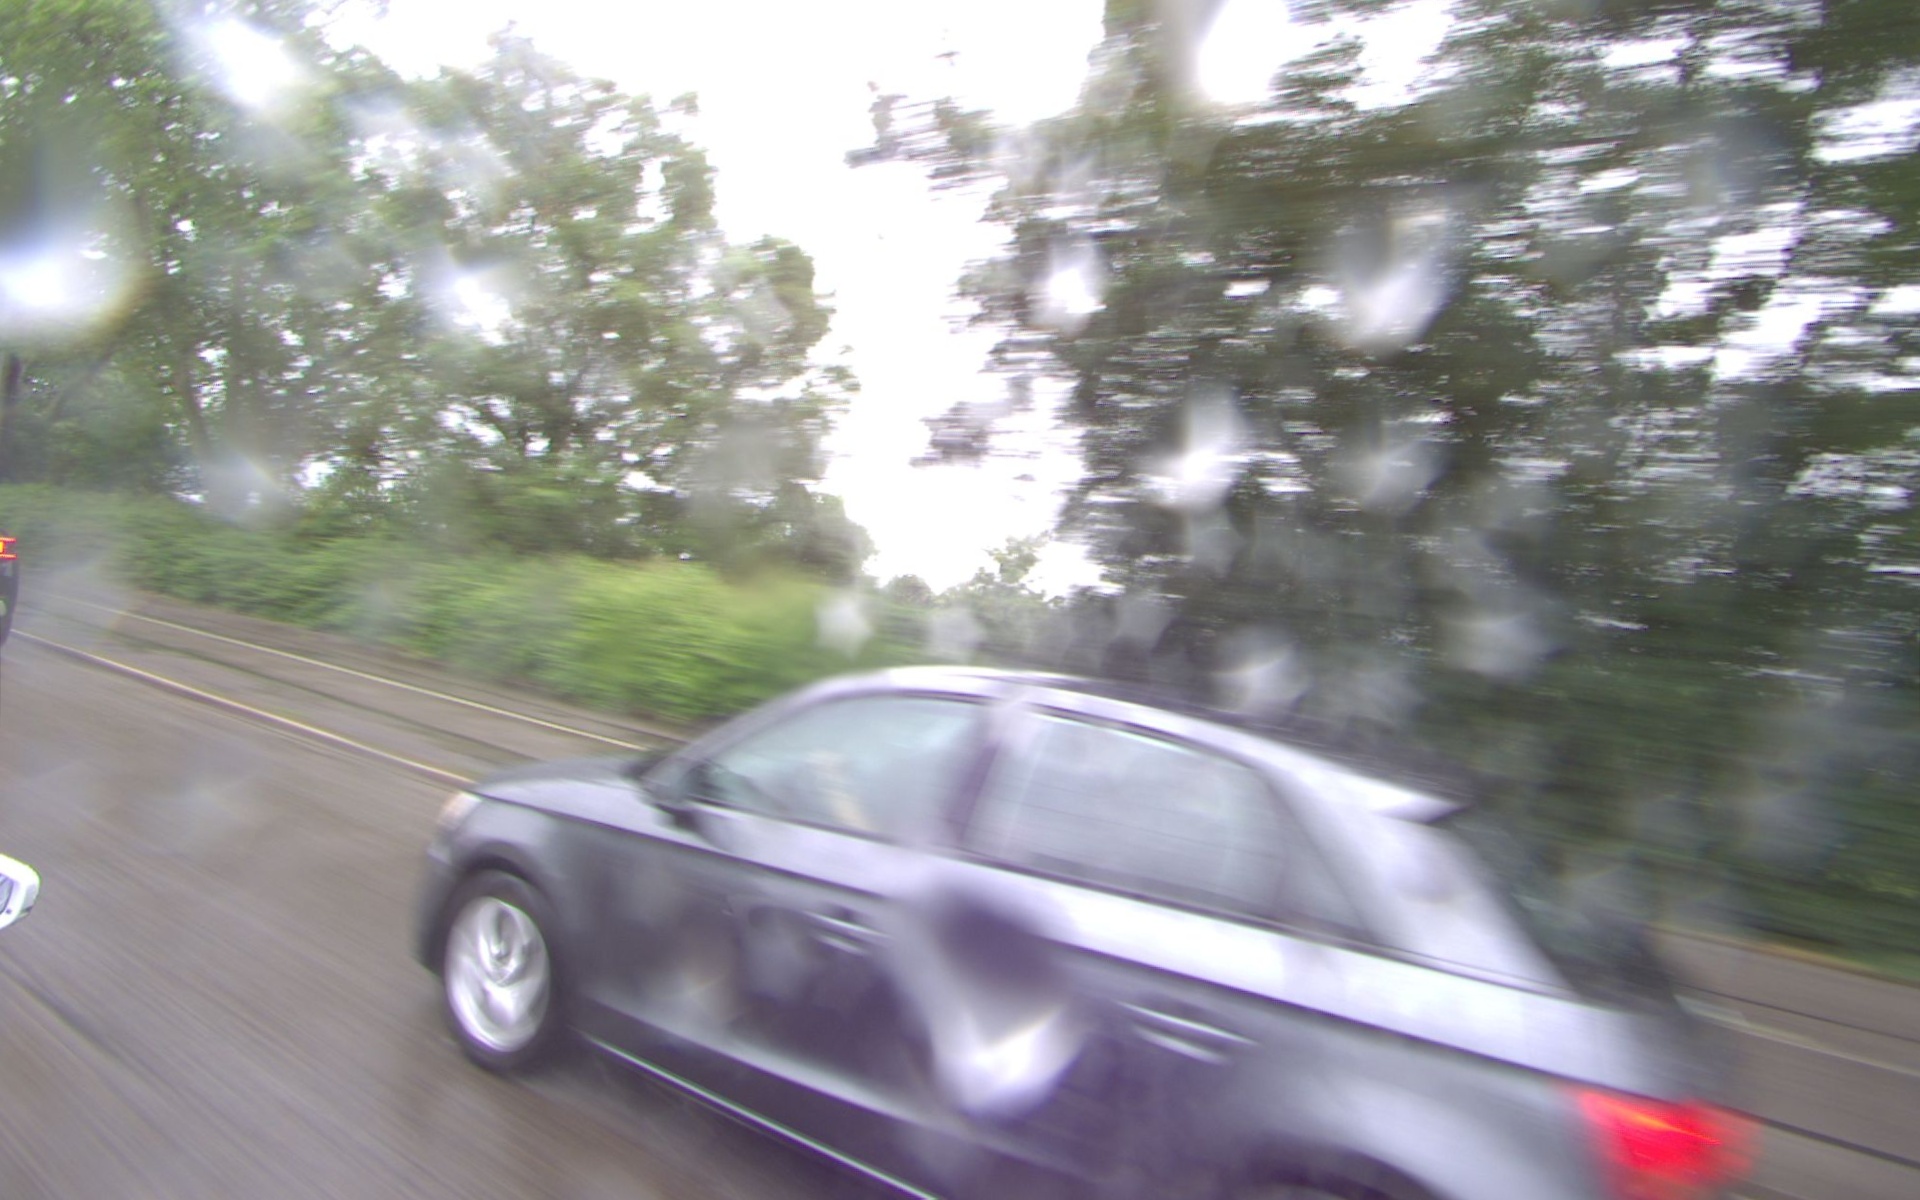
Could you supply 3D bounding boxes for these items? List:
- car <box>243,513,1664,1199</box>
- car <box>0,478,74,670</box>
[{"bbox_3d":[-0.231,0.787,3.392,3.923,1.546,1.973,8,-2,30],"label":"car"},{"bbox_3d":[-11.000,-0.556,9.897,4.645,1.736,1.904,8,-1,30],"label":"car"}]
